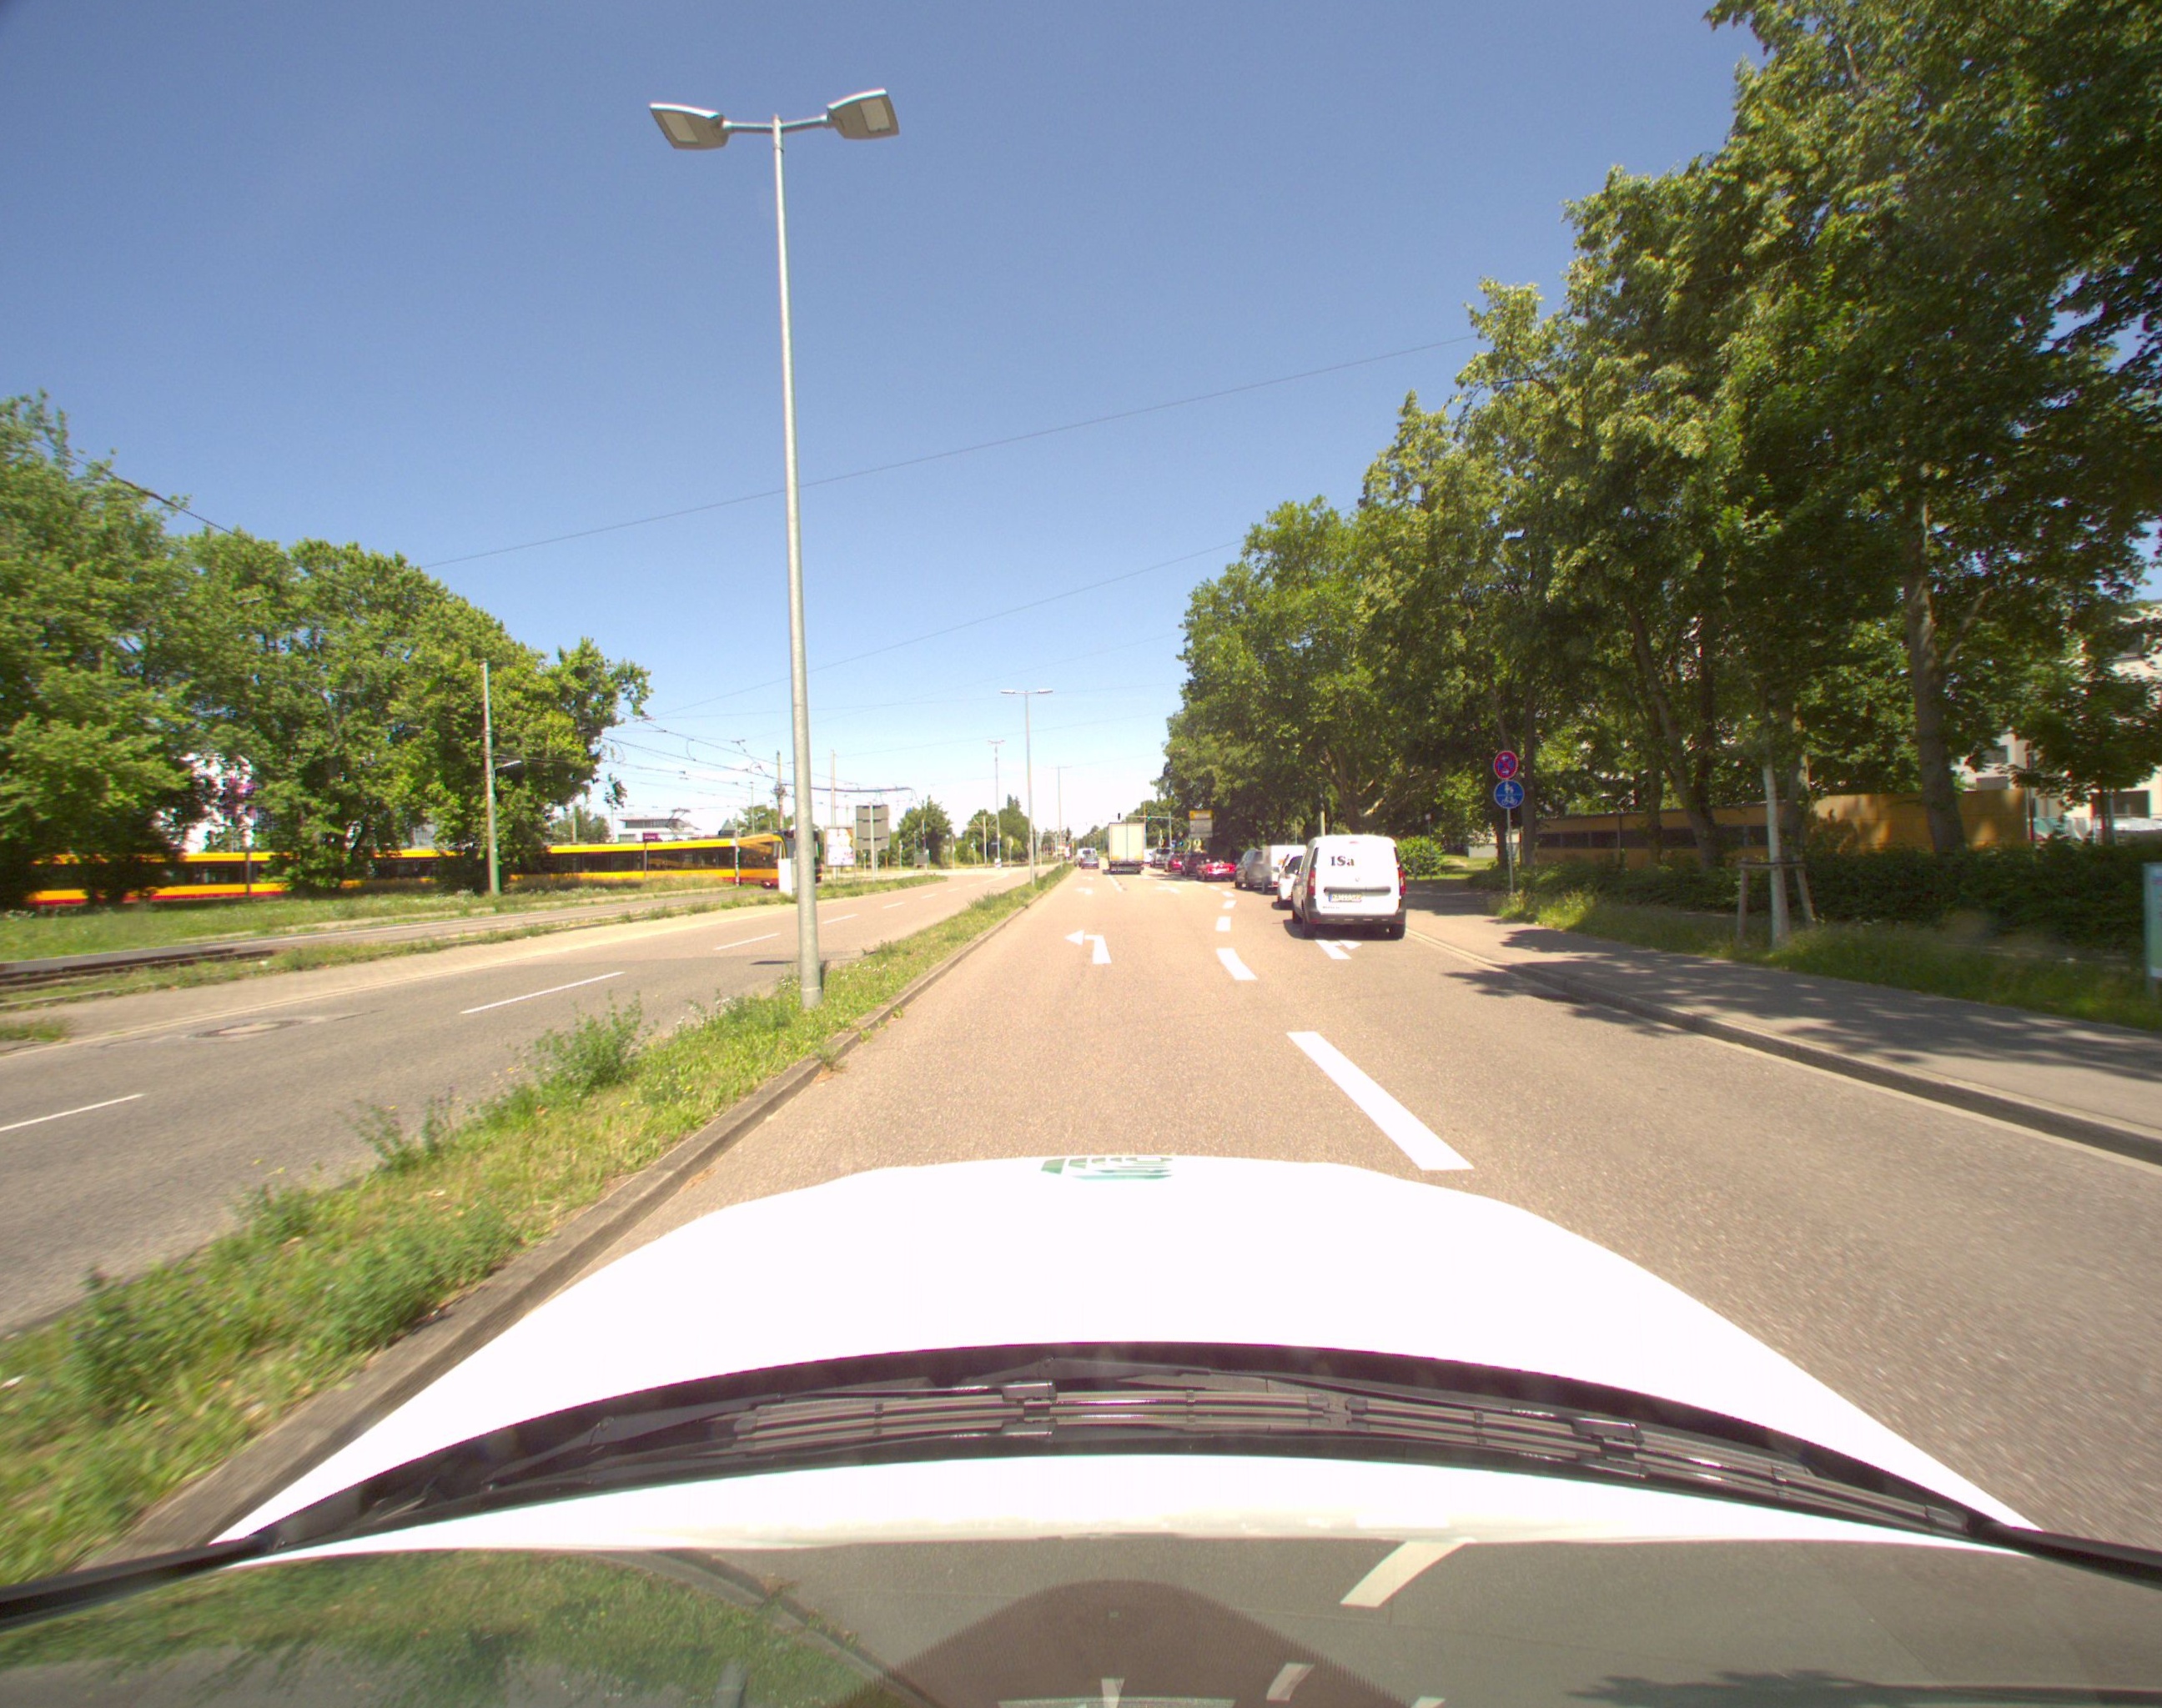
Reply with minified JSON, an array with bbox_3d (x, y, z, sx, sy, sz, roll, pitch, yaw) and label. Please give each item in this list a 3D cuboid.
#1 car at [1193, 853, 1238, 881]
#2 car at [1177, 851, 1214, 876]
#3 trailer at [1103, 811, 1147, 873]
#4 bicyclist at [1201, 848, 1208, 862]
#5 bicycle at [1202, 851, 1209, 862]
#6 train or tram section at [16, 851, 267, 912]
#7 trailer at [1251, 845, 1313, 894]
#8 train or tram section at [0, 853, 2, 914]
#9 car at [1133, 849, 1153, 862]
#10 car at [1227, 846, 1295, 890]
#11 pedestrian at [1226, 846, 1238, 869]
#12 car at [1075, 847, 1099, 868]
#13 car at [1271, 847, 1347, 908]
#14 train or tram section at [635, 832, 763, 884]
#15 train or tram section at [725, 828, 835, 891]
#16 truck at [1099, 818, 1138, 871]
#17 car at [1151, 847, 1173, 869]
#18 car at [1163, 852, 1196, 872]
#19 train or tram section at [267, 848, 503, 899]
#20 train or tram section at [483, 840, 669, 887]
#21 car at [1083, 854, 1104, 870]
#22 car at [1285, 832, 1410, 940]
[{"bbox_3d":[7.007,0.655,42.920,1.650,1.396,4.266,0,0,0],"label":"car"},{"bbox_3d":[7.552,0.604,53.957,1.852,1.549,3.886,0,0,-1],"label":"car"},{"bbox_3d":[3.249,-0.851,62.218,2.818,4.421,8.746,0,0,-1],"label":"trailer"},{"bbox_3d":[15.983,0.127,105.570,0.797,1.727,0.681,-4,-1,11],"label":"bicyclist"},{"bbox_3d":[16.116,0.345,105.523,0.640,1.304,1.631,-4,-1,12],"label":"bicycle"},{"bbox_3d":[-59.449,1.588,51.979,3.007,3.466,10.288,0,0,39],"label":"train or tram section"},{"bbox_3d":[7.042,0.515,28.812,1.464,1.669,2.855,0,0,-1],"label":"trailer"},{"bbox_3d":[-64.314,1.710,40.220,3.017,3.466,13.305,0,0,11],"label":"train or tram section"},{"bbox_3d":[7.439,0.187,97.587,1.987,1.437,4.250,-1,1,-1],"label":"car"},{"bbox_3d":[7.075,0.509,32.425,1.694,1.654,4.397,0,0,0],"label":"car"},{"bbox_3d":[12.167,0.257,65.432,0.750,1.816,0.693,-3,0,-1],"label":"pedestrian"},{"bbox_3d":[0.606,0.366,87.314,1.992,2.111,4.737,-1,1,-7],"label":"car"},{"bbox_3d":[6.096,0.579,22.103,1.709,1.488,3.890,0,0,11],"label":"car"},{"bbox_3d":[-27.637,0.263,58.735,10.093,3.466,3.065,0,0,30],"label":"train or tram section"},{"bbox_3d":[-19.116,0.293,50.876,3.059,3.466,13.147,0,0,-36],"label":"train or tram section"},{"bbox_3d":[3.148,-0.852,70.770,2.819,4.344,8.281,0,1,-1],"label":"truck"},{"bbox_3d":[8.193,0.379,82.562,1.885,2.121,3.886,0,0,-1],"label":"car"},{"bbox_3d":[7.797,0.596,64.827,1.988,1.503,4.501,-2,1,-1],"label":"car"},{"bbox_3d":[-50.451,1.285,59.816,12.784,3.466,3.018,0,0,-29],"label":"train or tram section"},{"bbox_3d":[-38.427,0.711,62.152,12.650,3.466,3.050,0,0,4],"label":"train or tram section"},{"bbox_3d":[1.231,0.799,79.378,1.885,1.372,4.432,2,-2,2],"label":"car"},{"bbox_3d":[4.920,0.515,15.585,1.699,1.747,4.440,0,0,11],"label":"car"}]
